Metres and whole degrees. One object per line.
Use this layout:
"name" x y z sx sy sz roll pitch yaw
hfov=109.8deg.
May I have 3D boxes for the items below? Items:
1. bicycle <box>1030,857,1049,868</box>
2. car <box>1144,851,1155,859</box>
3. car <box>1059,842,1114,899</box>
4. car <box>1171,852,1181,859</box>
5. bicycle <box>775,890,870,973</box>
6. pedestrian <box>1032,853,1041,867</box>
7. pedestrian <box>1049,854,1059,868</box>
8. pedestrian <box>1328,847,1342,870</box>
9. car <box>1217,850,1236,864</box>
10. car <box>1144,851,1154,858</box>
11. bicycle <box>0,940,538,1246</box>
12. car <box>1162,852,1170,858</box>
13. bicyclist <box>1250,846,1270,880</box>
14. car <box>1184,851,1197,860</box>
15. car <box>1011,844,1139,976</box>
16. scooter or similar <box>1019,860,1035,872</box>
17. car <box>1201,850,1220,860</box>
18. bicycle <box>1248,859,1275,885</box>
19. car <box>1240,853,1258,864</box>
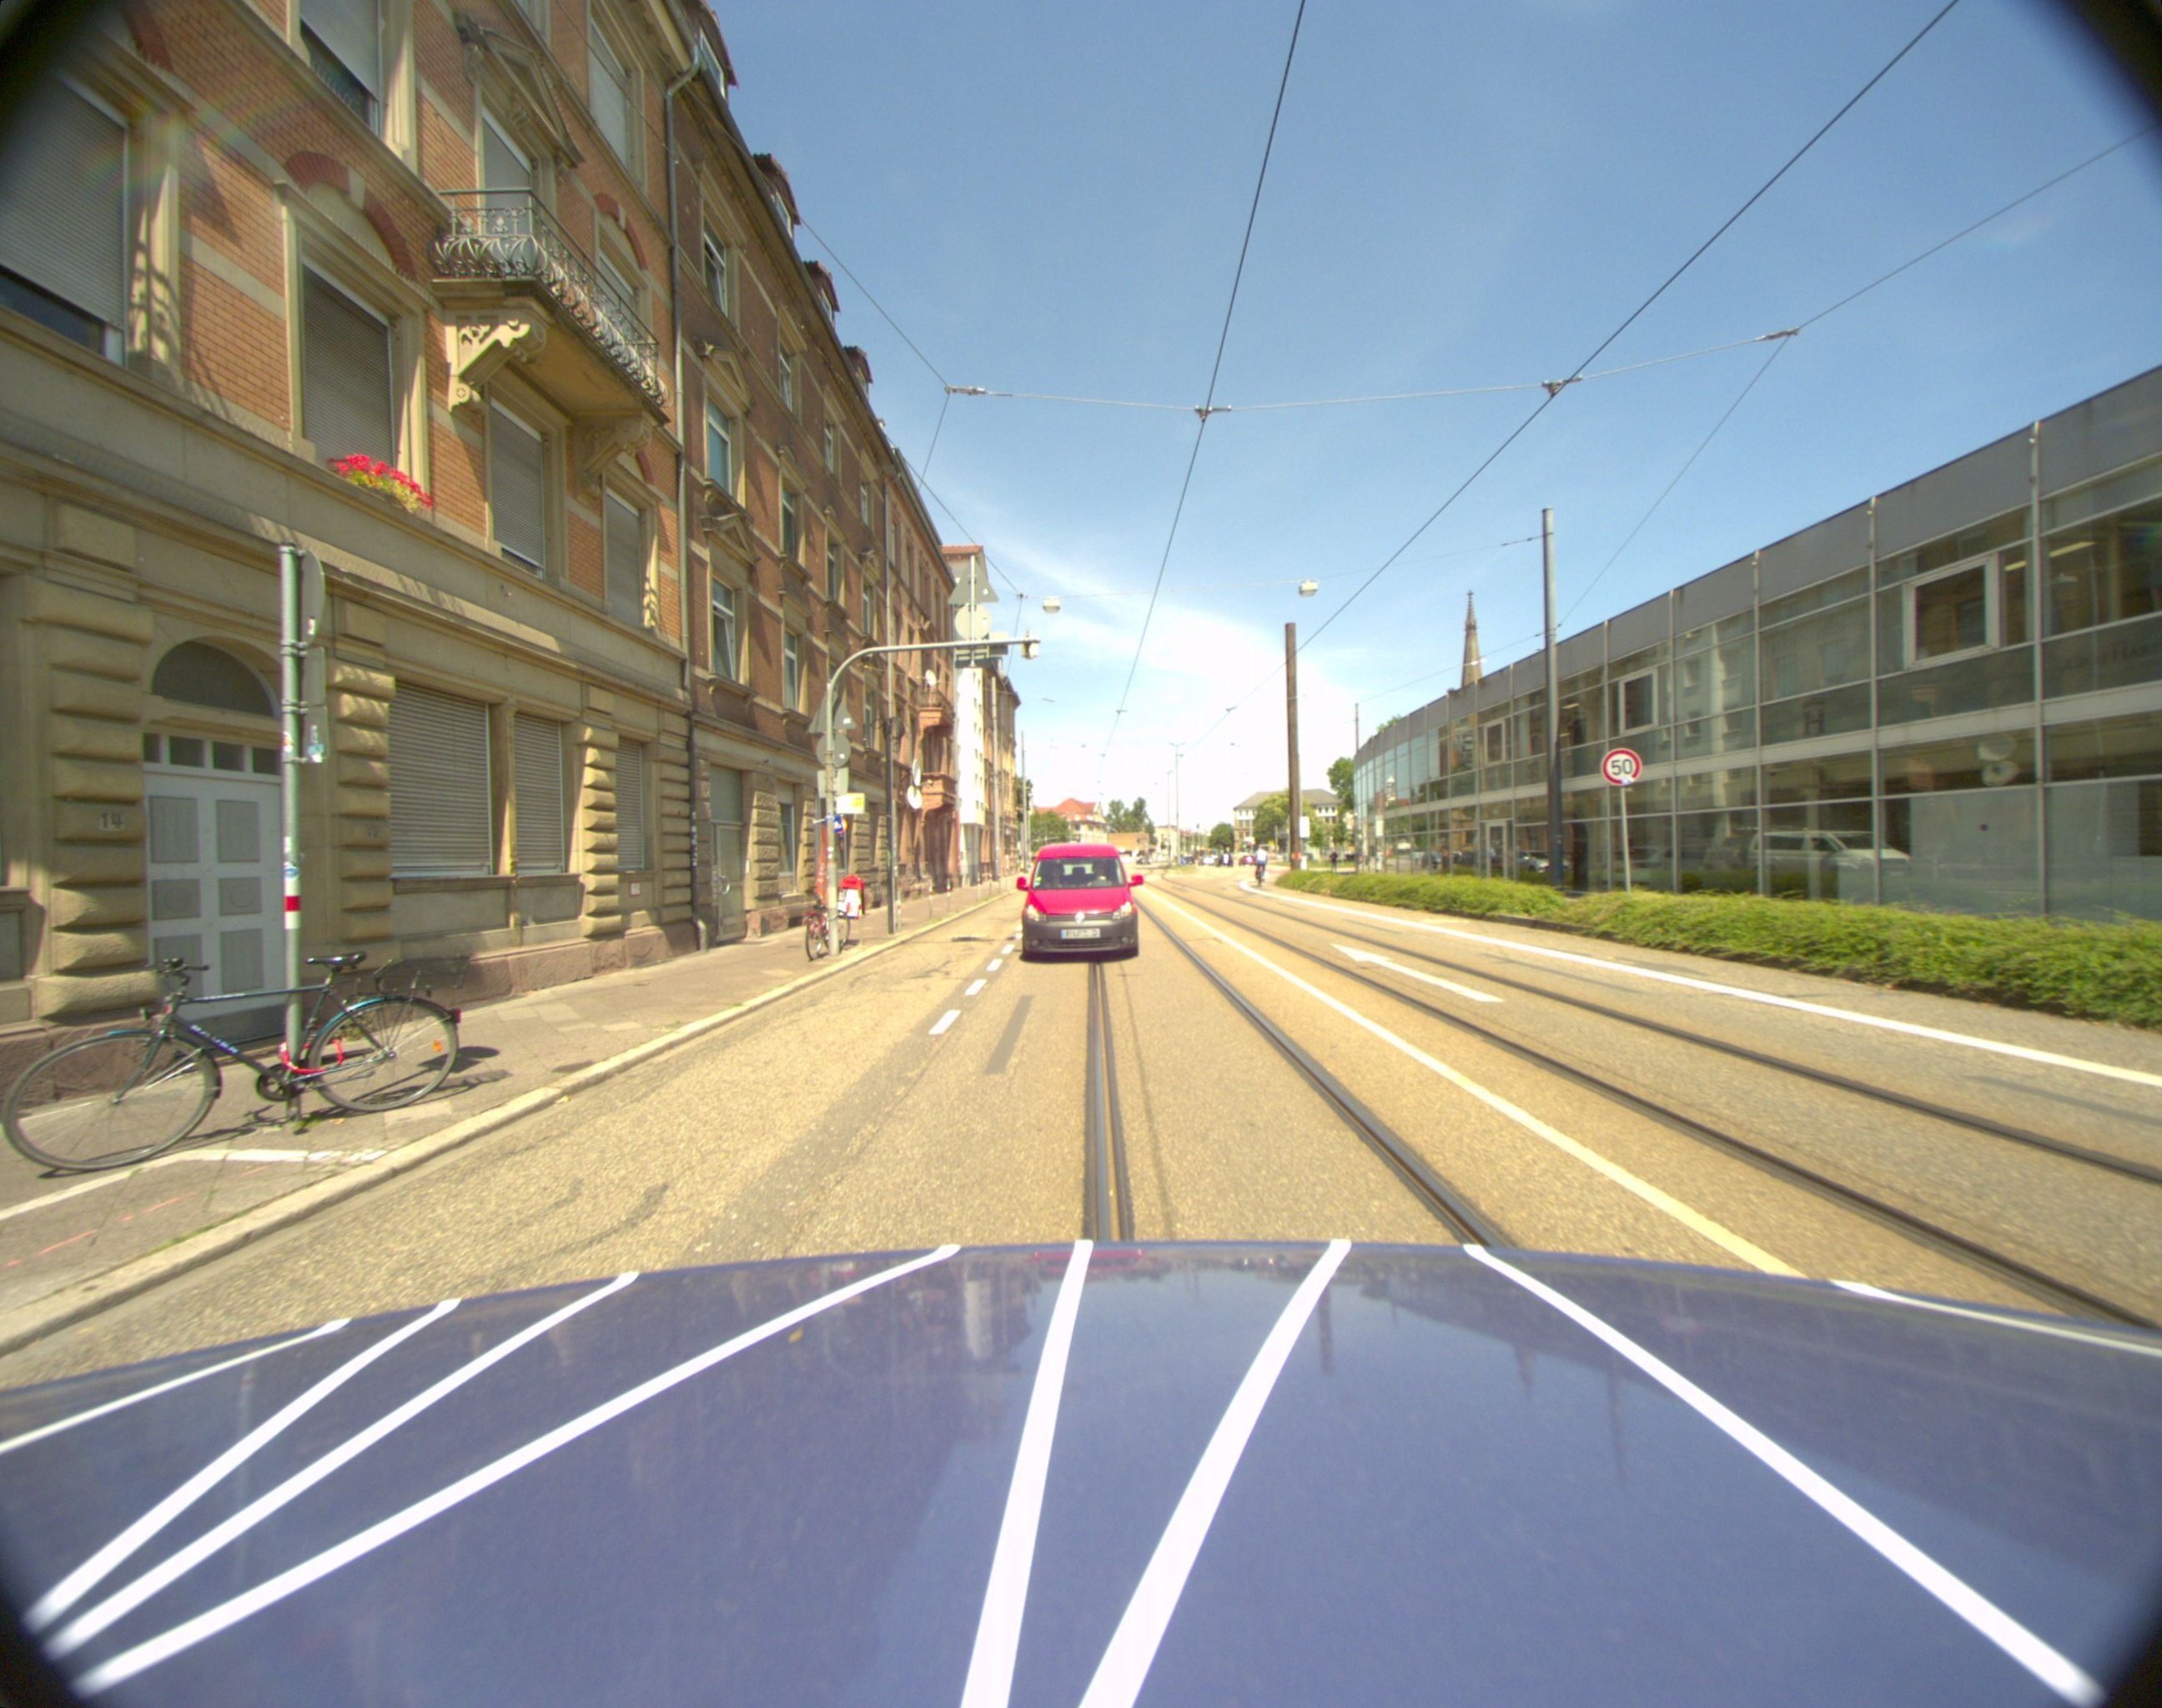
"bicycle" -5.129 1.073 94.080 2.225 1.243 1.096 -1 0 -43
"car" 12.877 0.286 143.678 1.847 1.471 4.331 0 0 3
"car" 0.184 0.573 28.635 1.874 1.954 3.823 -2 0 0
"car" 20.353 0.256 162.883 1.552 1.527 3.679 -2 0 1
"bicycle" -4.098 1.191 12.273 0.448 1.090 2.424 -1 0 6
"pedestrian" -5.492 0.760 93.801 0.826 1.765 0.812 -3 2 -43
"pedestrian" -3.515 0.925 98.923 0.808 1.769 0.876 -1 1 34
"pedestrian" 18.131 0.314 54.240 0.729 1.632 0.820 -1 1 5
"car" 18.254 0.367 95.530 1.826 1.617 4.526 0 0 4
"car" 13.842 0.081 154.277 1.711 1.291 4.203 0 0 1
"bicycle" -4.565 1.194 4.432 0.499 1.124 2.247 -1 0 30
"car" 21.325 0.260 190.816 1.552 1.527 3.679 -2 0 1
"bicyclist" 8.318 0.394 35.330 0.699 1.539 0.980 -1 1 1
"car" 17.917 0.252 124.797 1.675 1.453 3.904 -1 0 1
"car" -0.069 0.782 12.700 1.755 1.802 4.097 -2 0 0
"scooter or similar" -5.584 1.245 78.749 1.527 1.149 0.713 -1 0 -27
"car" 19.267 0.116 113.067 1.998 1.521 5.131 0 0 1
"bicycle" 8.319 0.826 35.128 0.699 1.138 2.495 -1 0 1
"car" 23.676 0.616 107.131 1.762 1.359 4.289 -2 0 3
